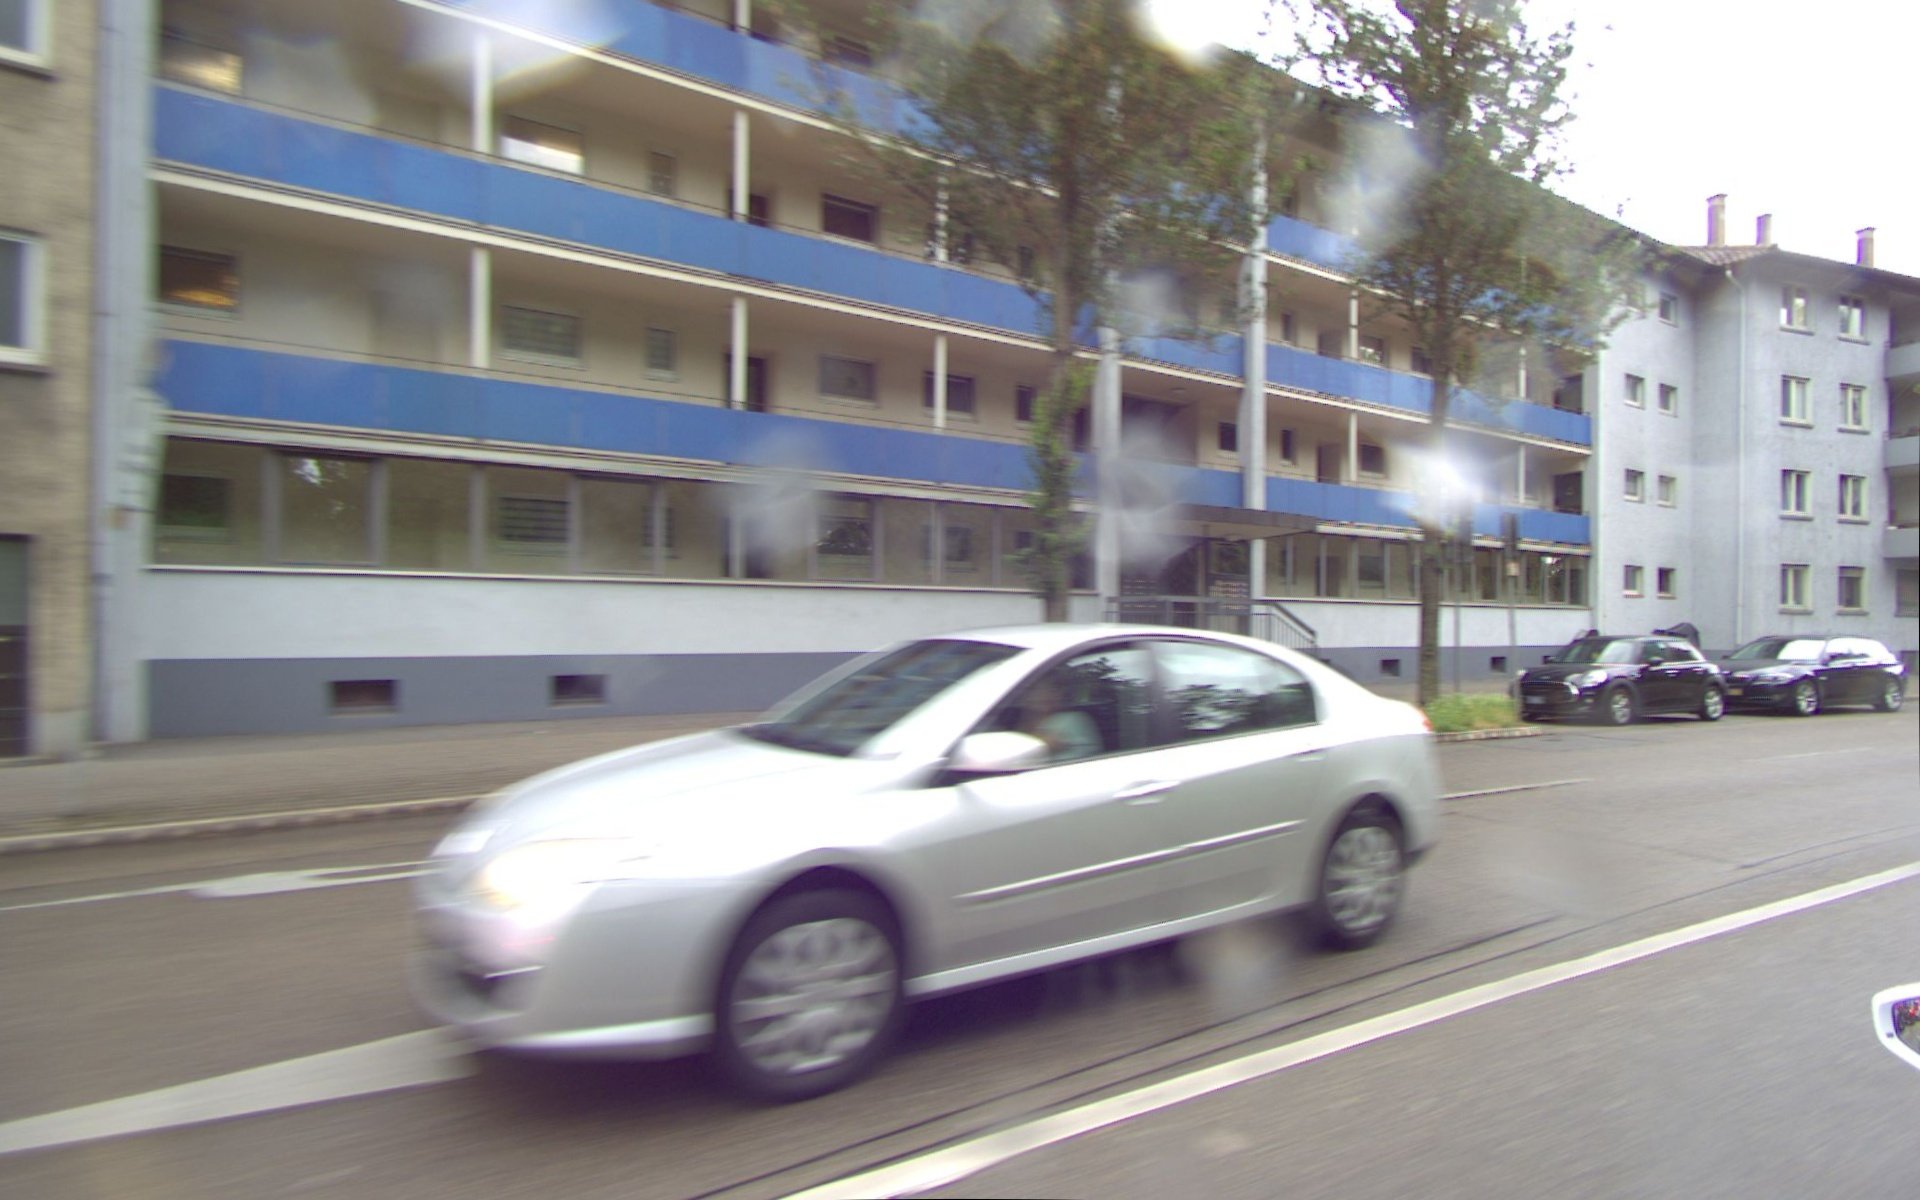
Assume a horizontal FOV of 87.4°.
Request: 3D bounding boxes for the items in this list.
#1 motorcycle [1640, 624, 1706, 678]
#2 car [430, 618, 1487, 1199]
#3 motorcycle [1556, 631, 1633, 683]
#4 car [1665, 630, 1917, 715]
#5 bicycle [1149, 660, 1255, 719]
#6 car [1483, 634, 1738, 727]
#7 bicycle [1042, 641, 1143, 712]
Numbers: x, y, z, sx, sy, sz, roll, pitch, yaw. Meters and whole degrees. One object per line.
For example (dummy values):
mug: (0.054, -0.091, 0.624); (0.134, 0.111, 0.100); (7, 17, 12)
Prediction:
motorcycle: (19.995, 1.420, 28.161); (2.211, 1.433, 0.671); (1, 1, -32)
car: (0.265, 0.824, 4.451); (4.489, 1.444, 1.742); (1, -1, -33)
motorcycle: (16.391, 1.448, 25.925); (2.209, 1.271, 0.672); (1, 1, -30)
car: (15.998, 1.361, 19.311); (4.826, 1.458, 1.816); (2, -3, -25)
bicycle: (3.954, 1.441, 16.375); (1.722, 0.837, 0.663); (1, 2, -33)
car: (11.003, 1.301, 16.978); (4.034, 1.421, 1.775); (1, -3, -26)
bicycle: (2.095, 1.171, 15.762); (1.720, 1.037, 0.606); (1, -2, -42)
